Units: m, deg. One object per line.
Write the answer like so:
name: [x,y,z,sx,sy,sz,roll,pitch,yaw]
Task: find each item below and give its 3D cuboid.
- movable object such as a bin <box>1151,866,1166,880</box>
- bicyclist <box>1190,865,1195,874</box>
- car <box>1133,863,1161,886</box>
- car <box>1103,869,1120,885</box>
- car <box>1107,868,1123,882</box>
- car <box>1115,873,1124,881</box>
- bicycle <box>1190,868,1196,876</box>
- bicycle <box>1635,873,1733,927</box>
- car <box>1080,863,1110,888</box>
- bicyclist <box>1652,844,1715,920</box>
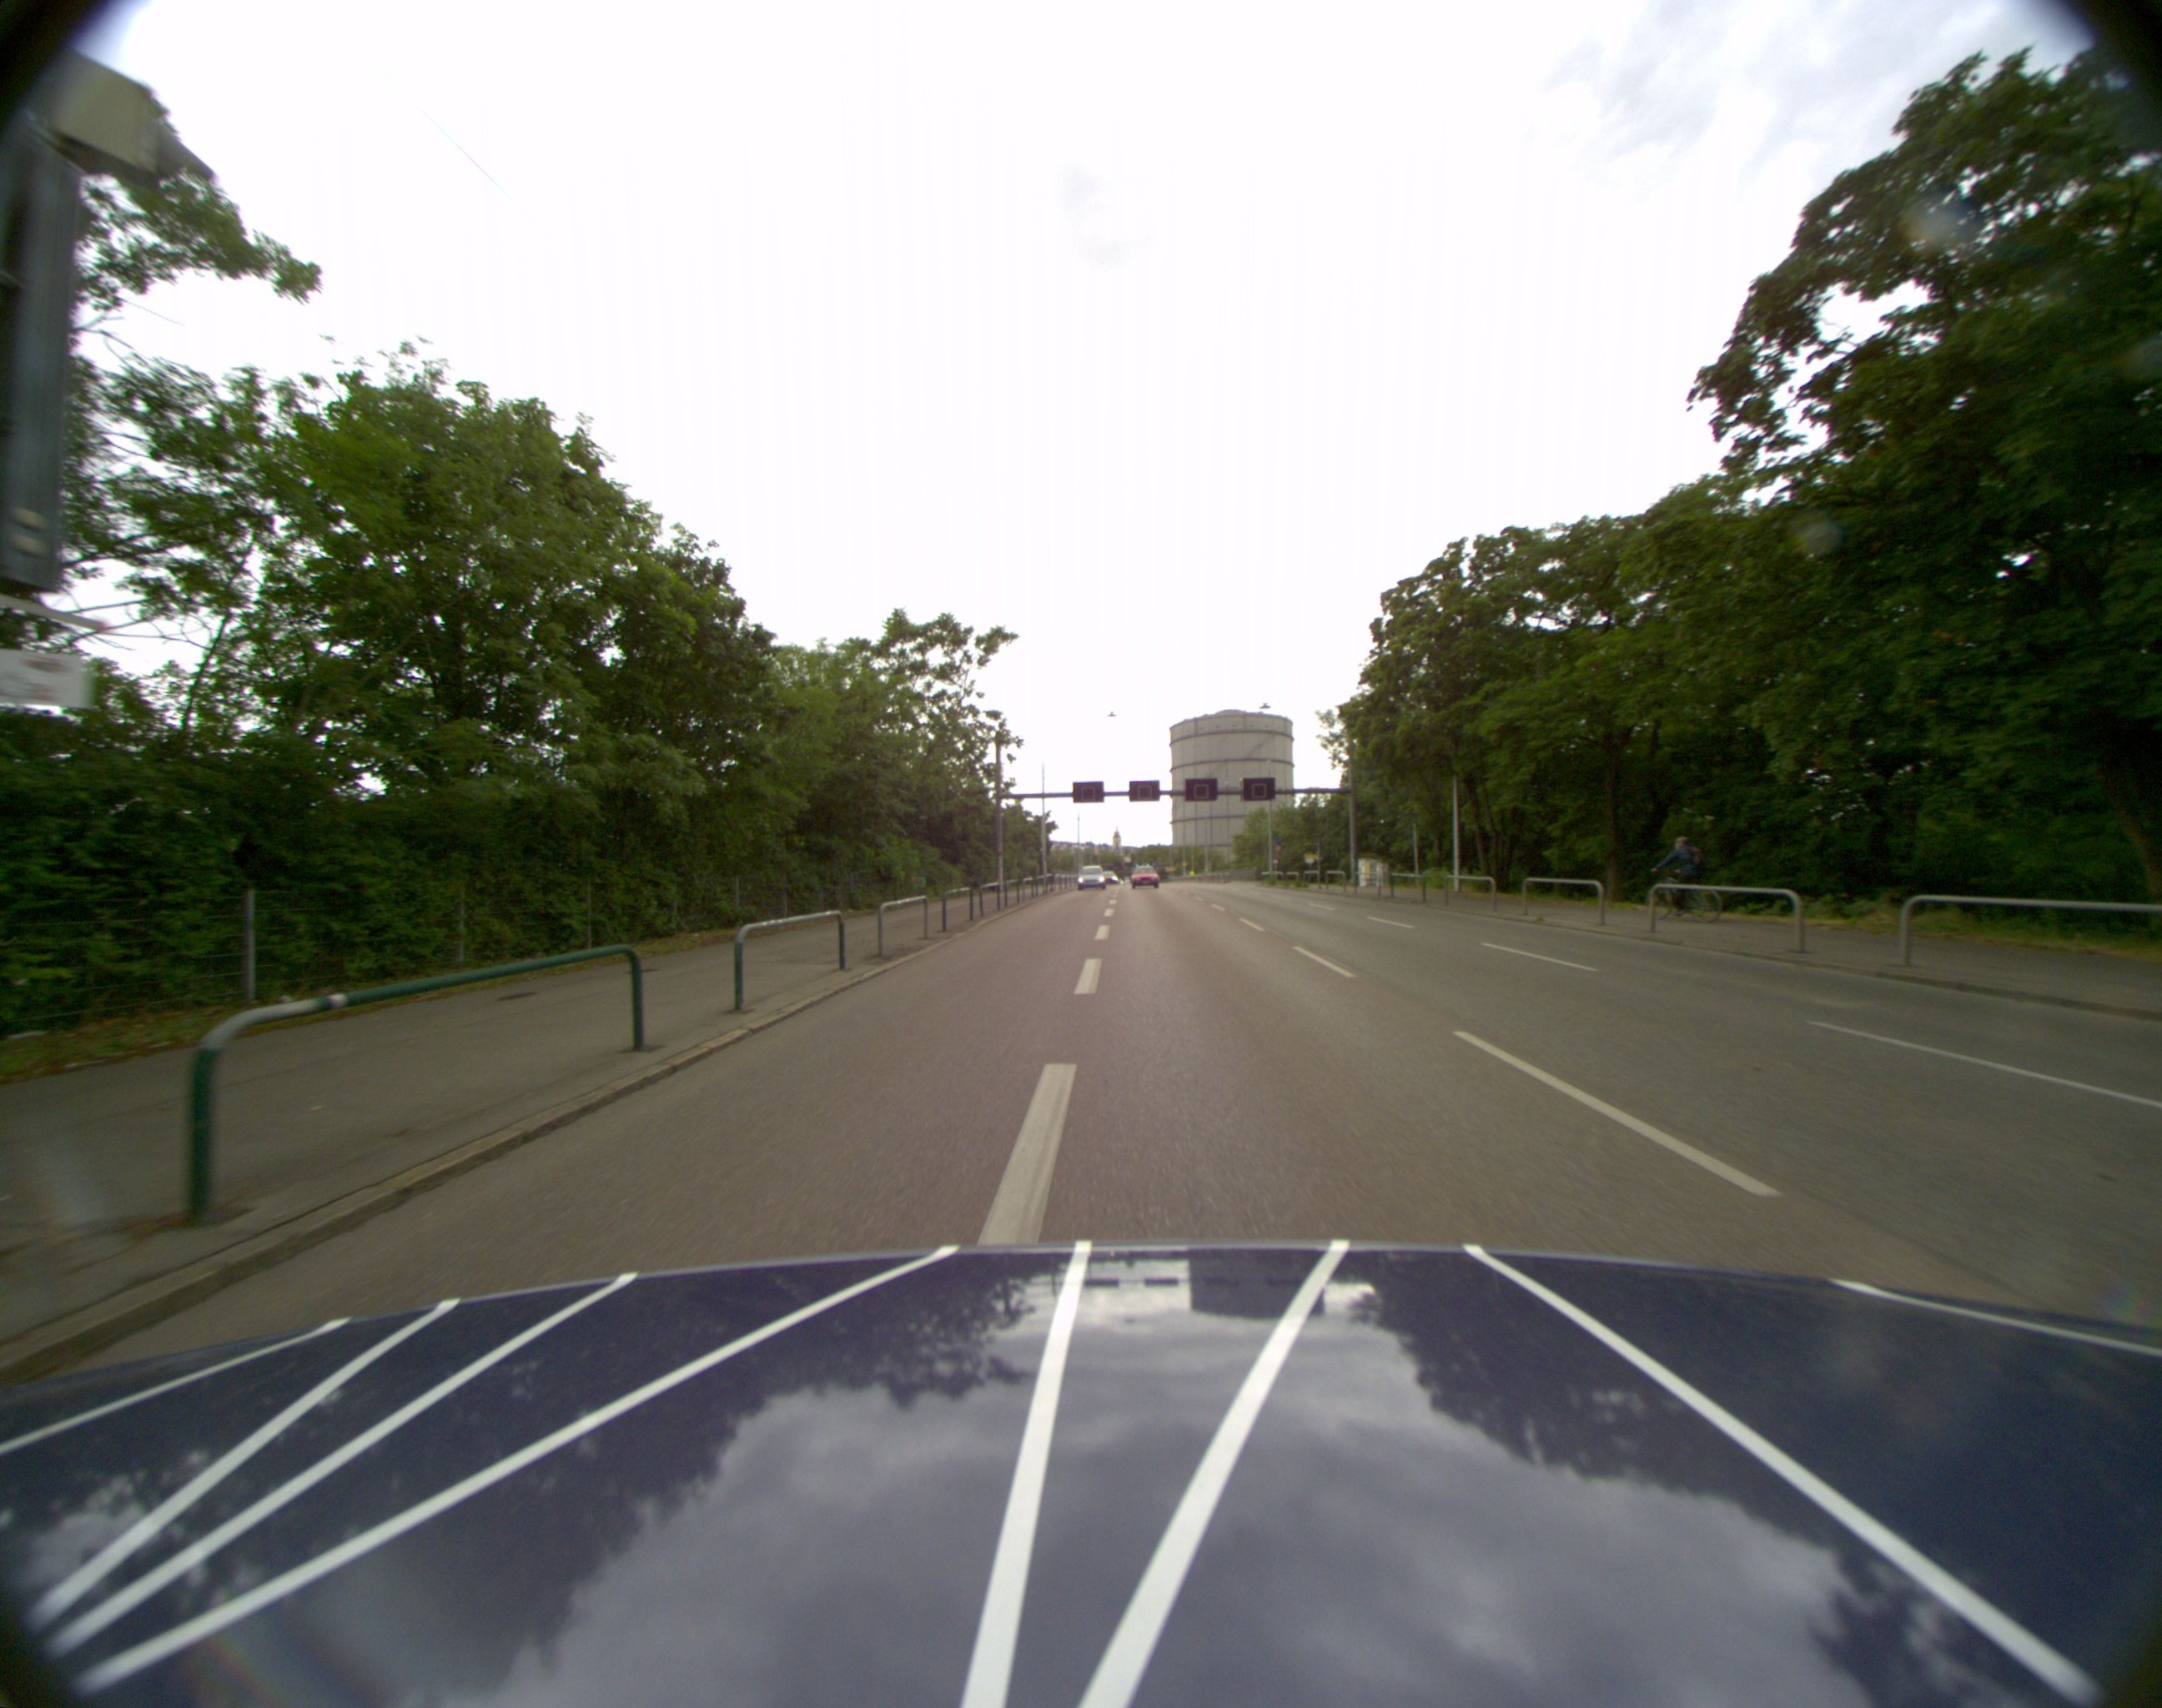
movable object such as a bin: [19.612,4.850,192.499,3.463,3.302,9.363,0,-1,4]
bicyclist: [18.014,2.481,122.587,0.627,1.467,0.671,-9,-2,5]
car: [4.232,1.328,48.960,1.696,1.434,4.002,1,-1,3]
car: [3.543,2.659,88.360,1.776,1.695,4.001,-2,-1,2]
car: [4.664,2.874,105.120,1.998,1.775,4.002,-1,-1,5]
car: [10.057,5.972,198.294,1.997,1.791,4.002,-3,-1,7]
bicycle: [18.085,2.902,122.696,0.636,1.057,1.984,-9,-2,6]
bicycle: [12.269,0.913,15.541,0.485,0.996,2.002,0,0,2]
car: [0.990,1.410,50.923,1.771,1.564,4.002,-1,-1,4]
bicyclist: [12.267,0.558,15.496,0.516,1.507,0.984,0,0,2]
